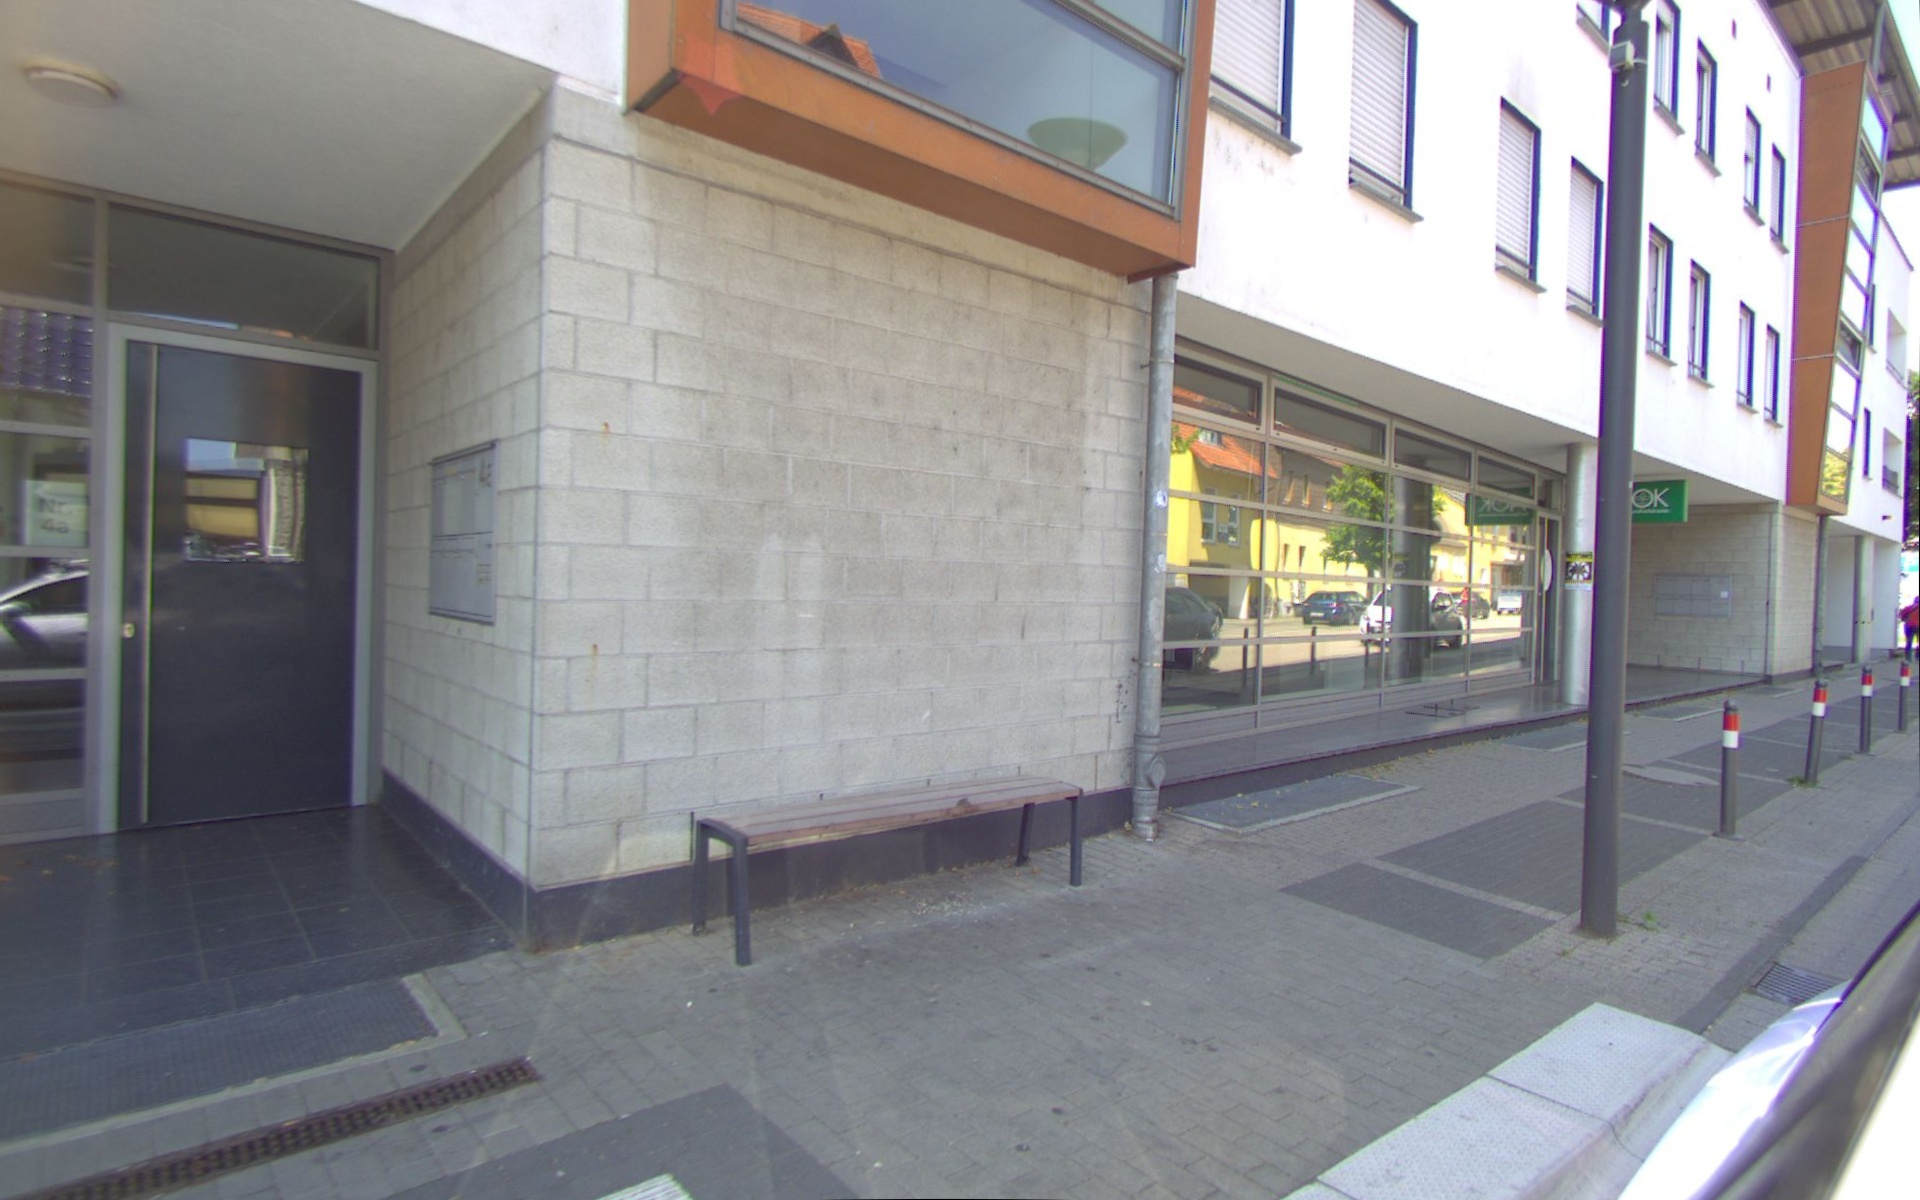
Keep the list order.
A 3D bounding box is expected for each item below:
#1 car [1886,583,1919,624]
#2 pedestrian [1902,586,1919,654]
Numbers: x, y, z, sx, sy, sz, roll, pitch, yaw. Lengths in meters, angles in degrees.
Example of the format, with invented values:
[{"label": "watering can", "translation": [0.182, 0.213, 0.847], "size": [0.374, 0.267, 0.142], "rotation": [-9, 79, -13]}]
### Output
[{"label": "car", "translation": [46.167, 0.227, 47.160], "size": [1.965, 1.882, 4.202], "rotation": [1, 2, -41]}, {"label": "pedestrian", "translation": [23.320, 0.490, 24.284], "size": [0.903, 1.607, 0.826], "rotation": [1, 4, -40]}]
